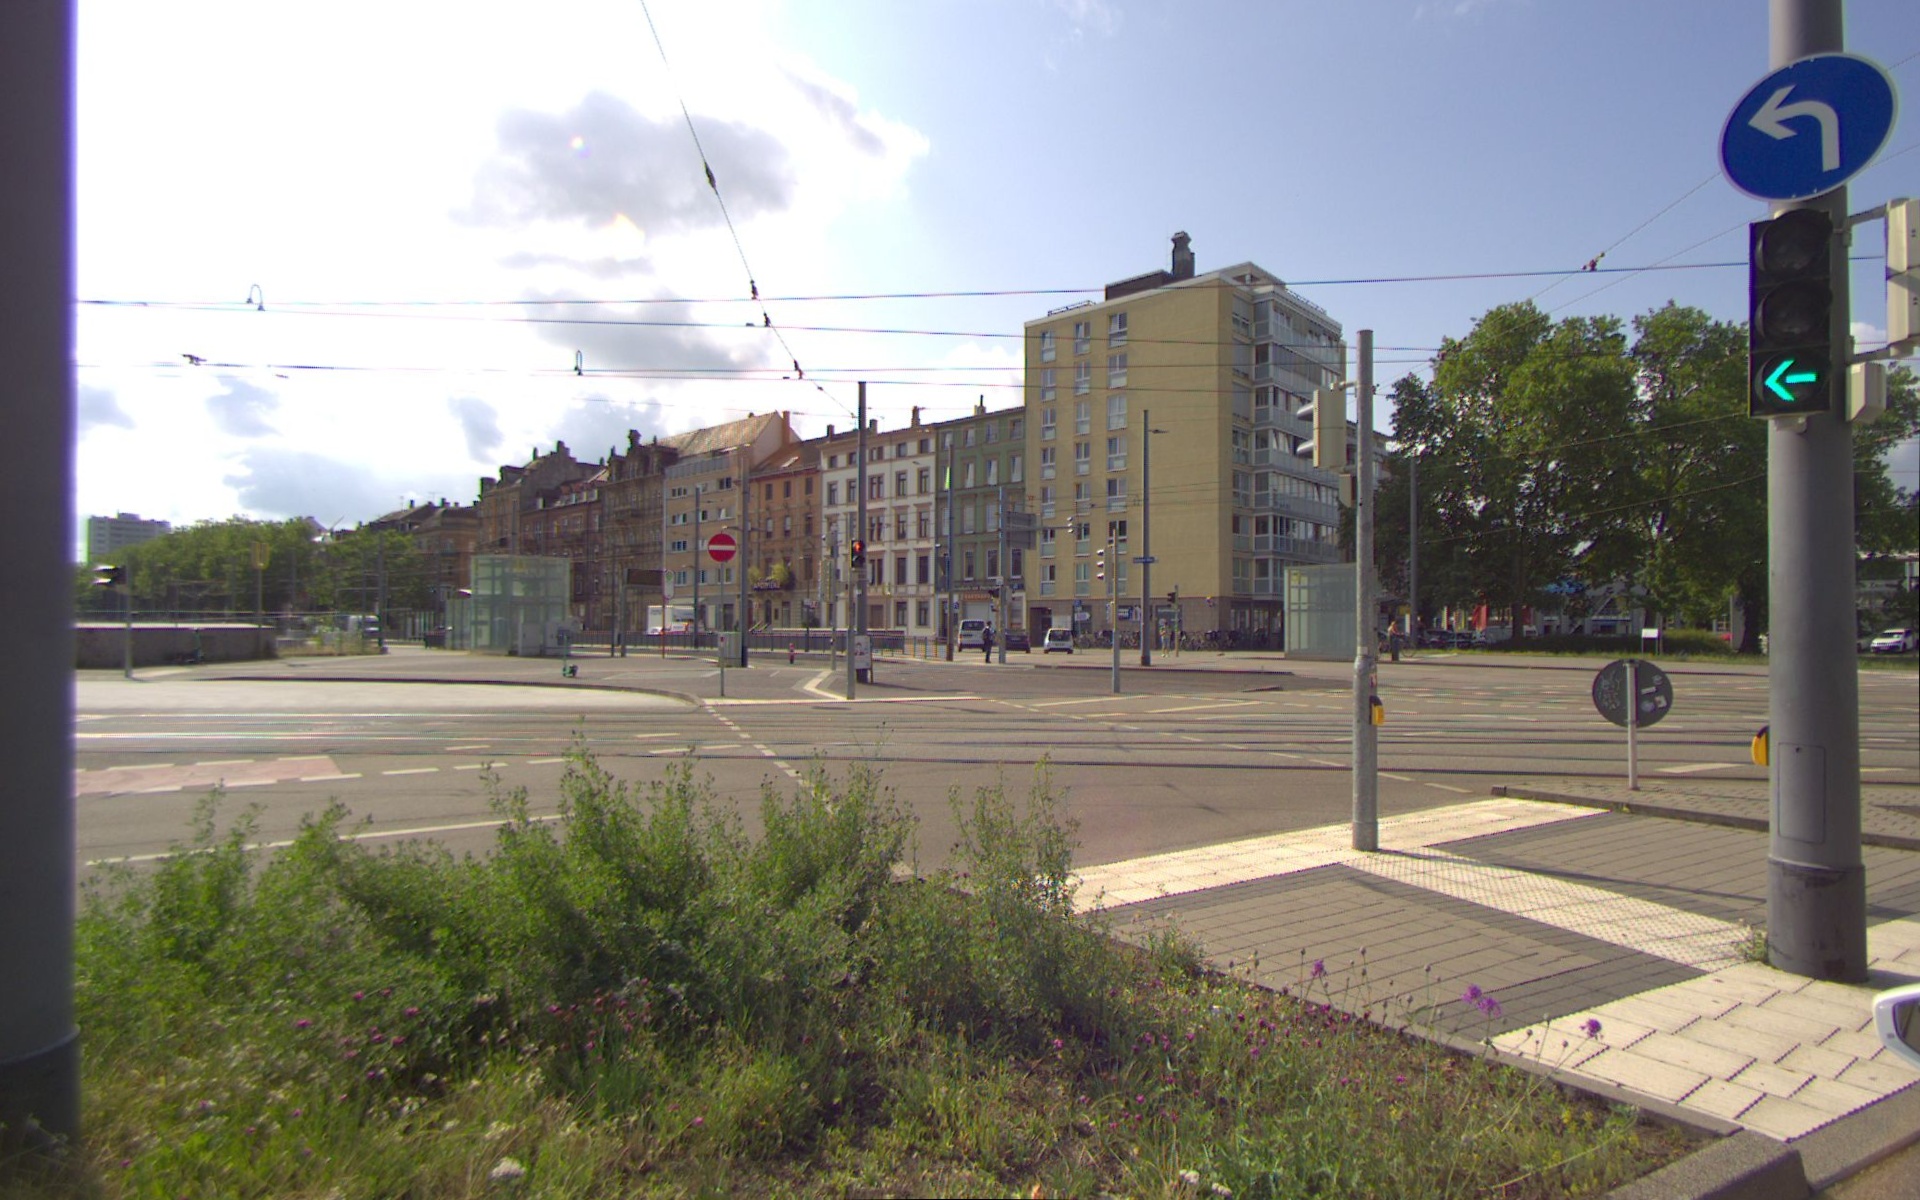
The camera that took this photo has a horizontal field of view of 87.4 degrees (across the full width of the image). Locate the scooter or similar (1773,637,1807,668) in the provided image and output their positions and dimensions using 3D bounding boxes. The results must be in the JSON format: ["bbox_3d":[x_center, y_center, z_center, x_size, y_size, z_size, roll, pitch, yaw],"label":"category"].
[{"bbox_3d":[34.484,2.173,41.726,0.911,1.173,0.381,4,4,16],"label":"scooter or similar"}]

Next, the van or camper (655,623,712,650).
[{"bbox_3d":[-21.438,2.812,77.872,4.454,1.940,2.006,1,0,39],"label":"van or camper"}]

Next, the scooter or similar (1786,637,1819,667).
[{"bbox_3d":[34.502,2.129,41.130,0.911,1.173,0.381,3,4,4],"label":"scooter or similar"}]

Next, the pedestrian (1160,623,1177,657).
[{"bbox_3d":[10.935,2.085,52.659,0.770,1.783,0.995,0,-1,19],"label":"pedestrian"}]

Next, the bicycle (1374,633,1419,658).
[{"bbox_3d":[21.782,2.245,50.124,1.958,1.142,0.787,2,0,32],"label":"bicycle"}]

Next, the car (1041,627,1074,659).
[{"bbox_3d":[5.659,2.467,58.615,1.685,1.460,3.512,4,2,2],"label":"car"}]

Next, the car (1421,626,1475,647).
[{"bbox_3d":[39.095,2.928,80.541,1.654,1.615,3.573,2,-2,-43],"label":"car"}]

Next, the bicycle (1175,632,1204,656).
[{"bbox_3d":[14.088,2.694,61.714,0.527,1.289,1.625,3,2,-41],"label":"bicycle"}]

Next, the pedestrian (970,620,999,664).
[{"bbox_3d":[1.000,1.705,40.923,0.783,1.696,0.840,6,6,41],"label":"pedestrian"}]

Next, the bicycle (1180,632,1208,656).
[{"bbox_3d":[14.455,2.706,62.106,0.484,1.289,1.625,3,2,-41],"label":"bicycle"}]

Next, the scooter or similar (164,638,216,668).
[{"bbox_3d":[-25.448,1.743,33.207,0.464,0.962,1.663,0,-1,-2],"label":"scooter or similar"}]

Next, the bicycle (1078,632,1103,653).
[{"bbox_3d":[8.646,2.834,66.416,0.484,1.217,1.625,3,2,-41],"label":"bicycle"}]

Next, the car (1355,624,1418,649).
[{"bbox_3d":[29.530,2.513,69.549,3.523,1.550,1.989,2,0,43],"label":"car"}]

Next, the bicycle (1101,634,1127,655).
[{"bbox_3d":[9.969,2.869,65.048,0.545,1.217,1.625,3,2,-41],"label":"bicycle"}]

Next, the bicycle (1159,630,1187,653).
[{"bbox_3d":[13.365,2.585,63.039,0.484,1.289,1.625,3,2,-41],"label":"bicycle"}]

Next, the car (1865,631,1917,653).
[{"bbox_3d":[70.021,3.145,75.547,3.959,1.625,2.055,1,-2,-35],"label":"car"}]

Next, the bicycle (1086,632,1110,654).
[{"bbox_3d":[9.157,2.850,66.665,0.484,1.217,1.625,3,2,-41],"label":"bicycle"}]

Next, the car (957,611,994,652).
[{"bbox_3d":[0.917,1.929,63.392,2.039,2.113,4.897,3,2,-2],"label":"car"}]

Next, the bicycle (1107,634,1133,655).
[{"bbox_3d":[10.405,2.884,65.408,0.484,1.217,1.625,3,2,-41],"label":"bicycle"}]

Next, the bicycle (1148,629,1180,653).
[{"bbox_3d":[12.767,2.566,62.849,1.859,1.289,0.486,6,5,35],"label":"bicycle"}]

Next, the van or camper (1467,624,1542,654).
[{"bbox_3d":[51.526,3.658,95.210,2.363,2.502,5.853,2,0,-28],"label":"van or camper"}]

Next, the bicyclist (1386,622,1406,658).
[{"bbox_3d":[21.751,1.982,50.120,0.813,1.768,0.710,2,0,31],"label":"bicyclist"}]

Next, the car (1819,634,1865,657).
[{"bbox_3d":[68.753,3.535,78.279,3.965,1.595,1.978,2,0,-39],"label":"car"}]

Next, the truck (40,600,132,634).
[{"bbox_3d":[-98.560,1.981,113.380,2.431,3.696,7.423,-1,-2,36],"label":"truck"}]

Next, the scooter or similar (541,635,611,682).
[{"bbox_3d":[-10.649,1.602,27.860,1.330,1.205,1.474,2,0,-45],"label":"scooter or similar"}]

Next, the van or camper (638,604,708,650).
[{"bbox_3d":[-26.076,2.346,90.966,2.703,3.376,7.535,-1,6,-45],"label":"van or camper"}]

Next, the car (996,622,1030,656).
[{"bbox_3d":[3.141,2.311,60.465,1.853,1.488,5.063,3,4,2],"label":"car"}]
